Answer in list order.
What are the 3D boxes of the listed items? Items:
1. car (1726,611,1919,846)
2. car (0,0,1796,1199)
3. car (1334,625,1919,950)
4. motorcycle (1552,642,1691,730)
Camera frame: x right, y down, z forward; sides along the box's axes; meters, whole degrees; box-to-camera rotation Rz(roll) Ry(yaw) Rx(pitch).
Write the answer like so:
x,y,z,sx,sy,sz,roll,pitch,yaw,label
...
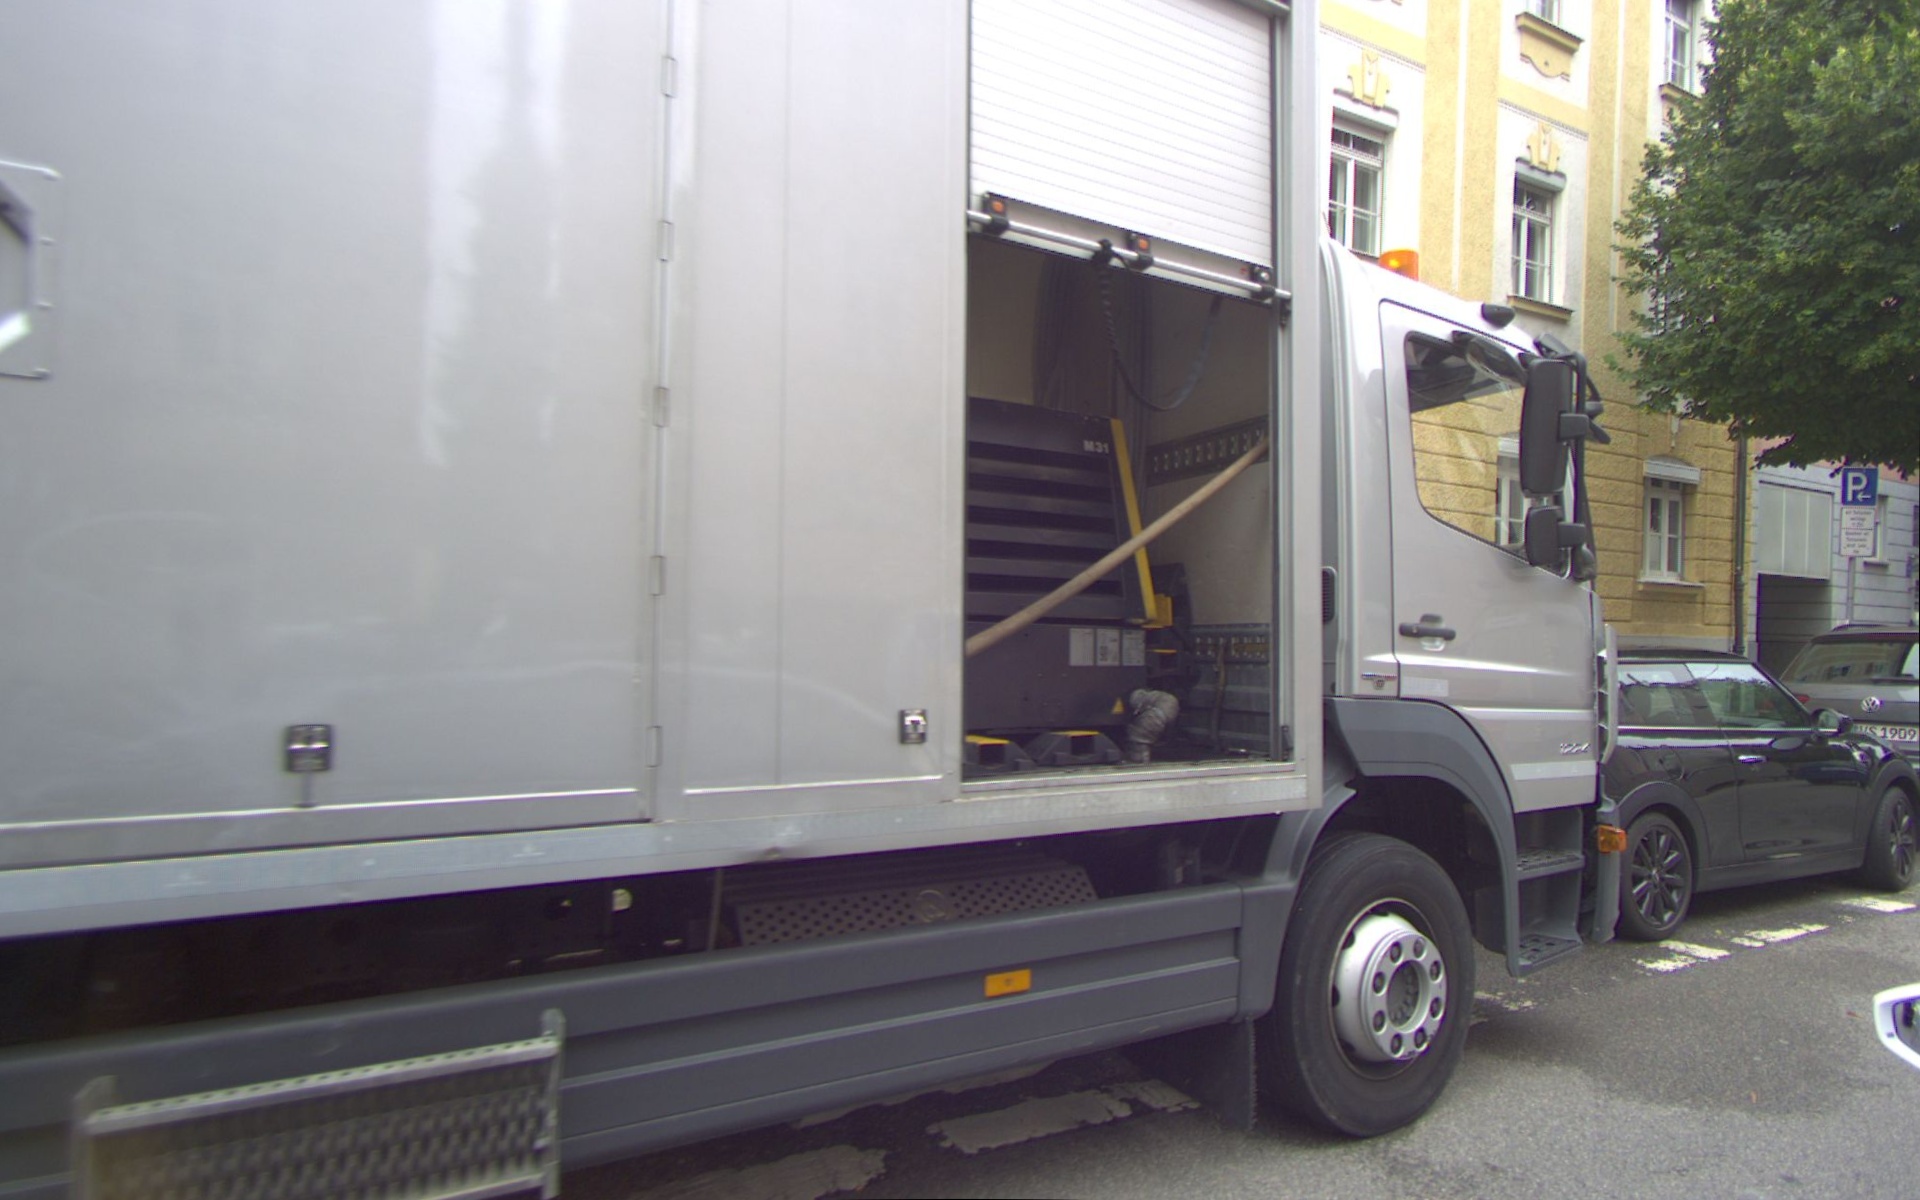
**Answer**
x,y,z,sx,sy,sz,roll,pitch,yaw,label
8.442,0.959,8.322,4.132,1.650,1.778,2,-1,-28,car
-1.553,-0.505,2.629,8.616,3.868,2.801,2,-1,-29,car
4.254,0.915,6.084,3.660,1.428,1.693,2,-1,-27,car
9.336,1.168,14.141,2.400,1.142,0.635,1,-1,-30,motorcycle
